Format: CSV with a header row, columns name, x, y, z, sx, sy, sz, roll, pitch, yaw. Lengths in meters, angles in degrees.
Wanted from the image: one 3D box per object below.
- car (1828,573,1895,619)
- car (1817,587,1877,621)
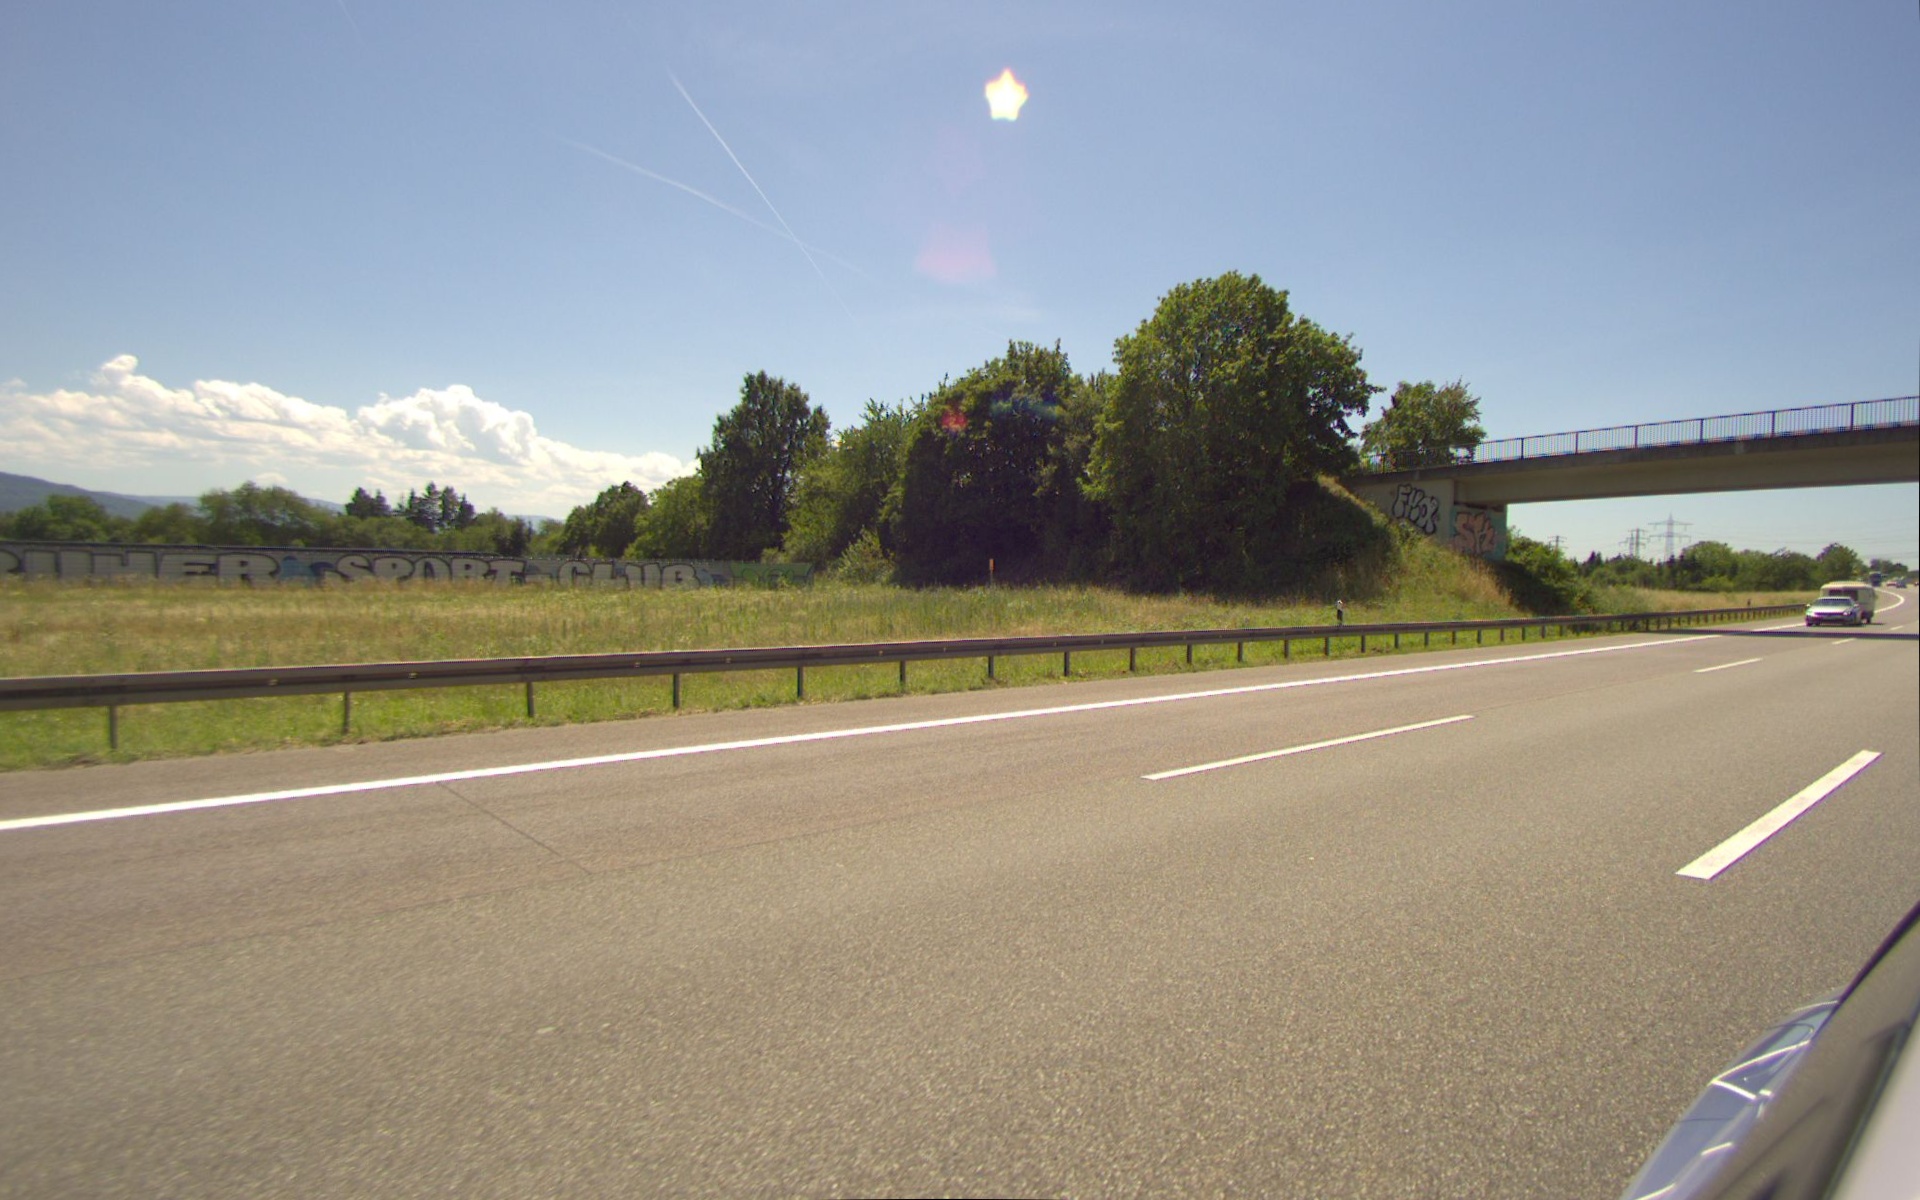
name,x,y,z,sx,sy,sz,roll,pitch,yaw
car,47.401,-0.250,53.191,4.869,2.294,2.185,-1,2,-43
car,42.649,0.163,48.623,3.933,1.494,1.781,-1,2,-43
